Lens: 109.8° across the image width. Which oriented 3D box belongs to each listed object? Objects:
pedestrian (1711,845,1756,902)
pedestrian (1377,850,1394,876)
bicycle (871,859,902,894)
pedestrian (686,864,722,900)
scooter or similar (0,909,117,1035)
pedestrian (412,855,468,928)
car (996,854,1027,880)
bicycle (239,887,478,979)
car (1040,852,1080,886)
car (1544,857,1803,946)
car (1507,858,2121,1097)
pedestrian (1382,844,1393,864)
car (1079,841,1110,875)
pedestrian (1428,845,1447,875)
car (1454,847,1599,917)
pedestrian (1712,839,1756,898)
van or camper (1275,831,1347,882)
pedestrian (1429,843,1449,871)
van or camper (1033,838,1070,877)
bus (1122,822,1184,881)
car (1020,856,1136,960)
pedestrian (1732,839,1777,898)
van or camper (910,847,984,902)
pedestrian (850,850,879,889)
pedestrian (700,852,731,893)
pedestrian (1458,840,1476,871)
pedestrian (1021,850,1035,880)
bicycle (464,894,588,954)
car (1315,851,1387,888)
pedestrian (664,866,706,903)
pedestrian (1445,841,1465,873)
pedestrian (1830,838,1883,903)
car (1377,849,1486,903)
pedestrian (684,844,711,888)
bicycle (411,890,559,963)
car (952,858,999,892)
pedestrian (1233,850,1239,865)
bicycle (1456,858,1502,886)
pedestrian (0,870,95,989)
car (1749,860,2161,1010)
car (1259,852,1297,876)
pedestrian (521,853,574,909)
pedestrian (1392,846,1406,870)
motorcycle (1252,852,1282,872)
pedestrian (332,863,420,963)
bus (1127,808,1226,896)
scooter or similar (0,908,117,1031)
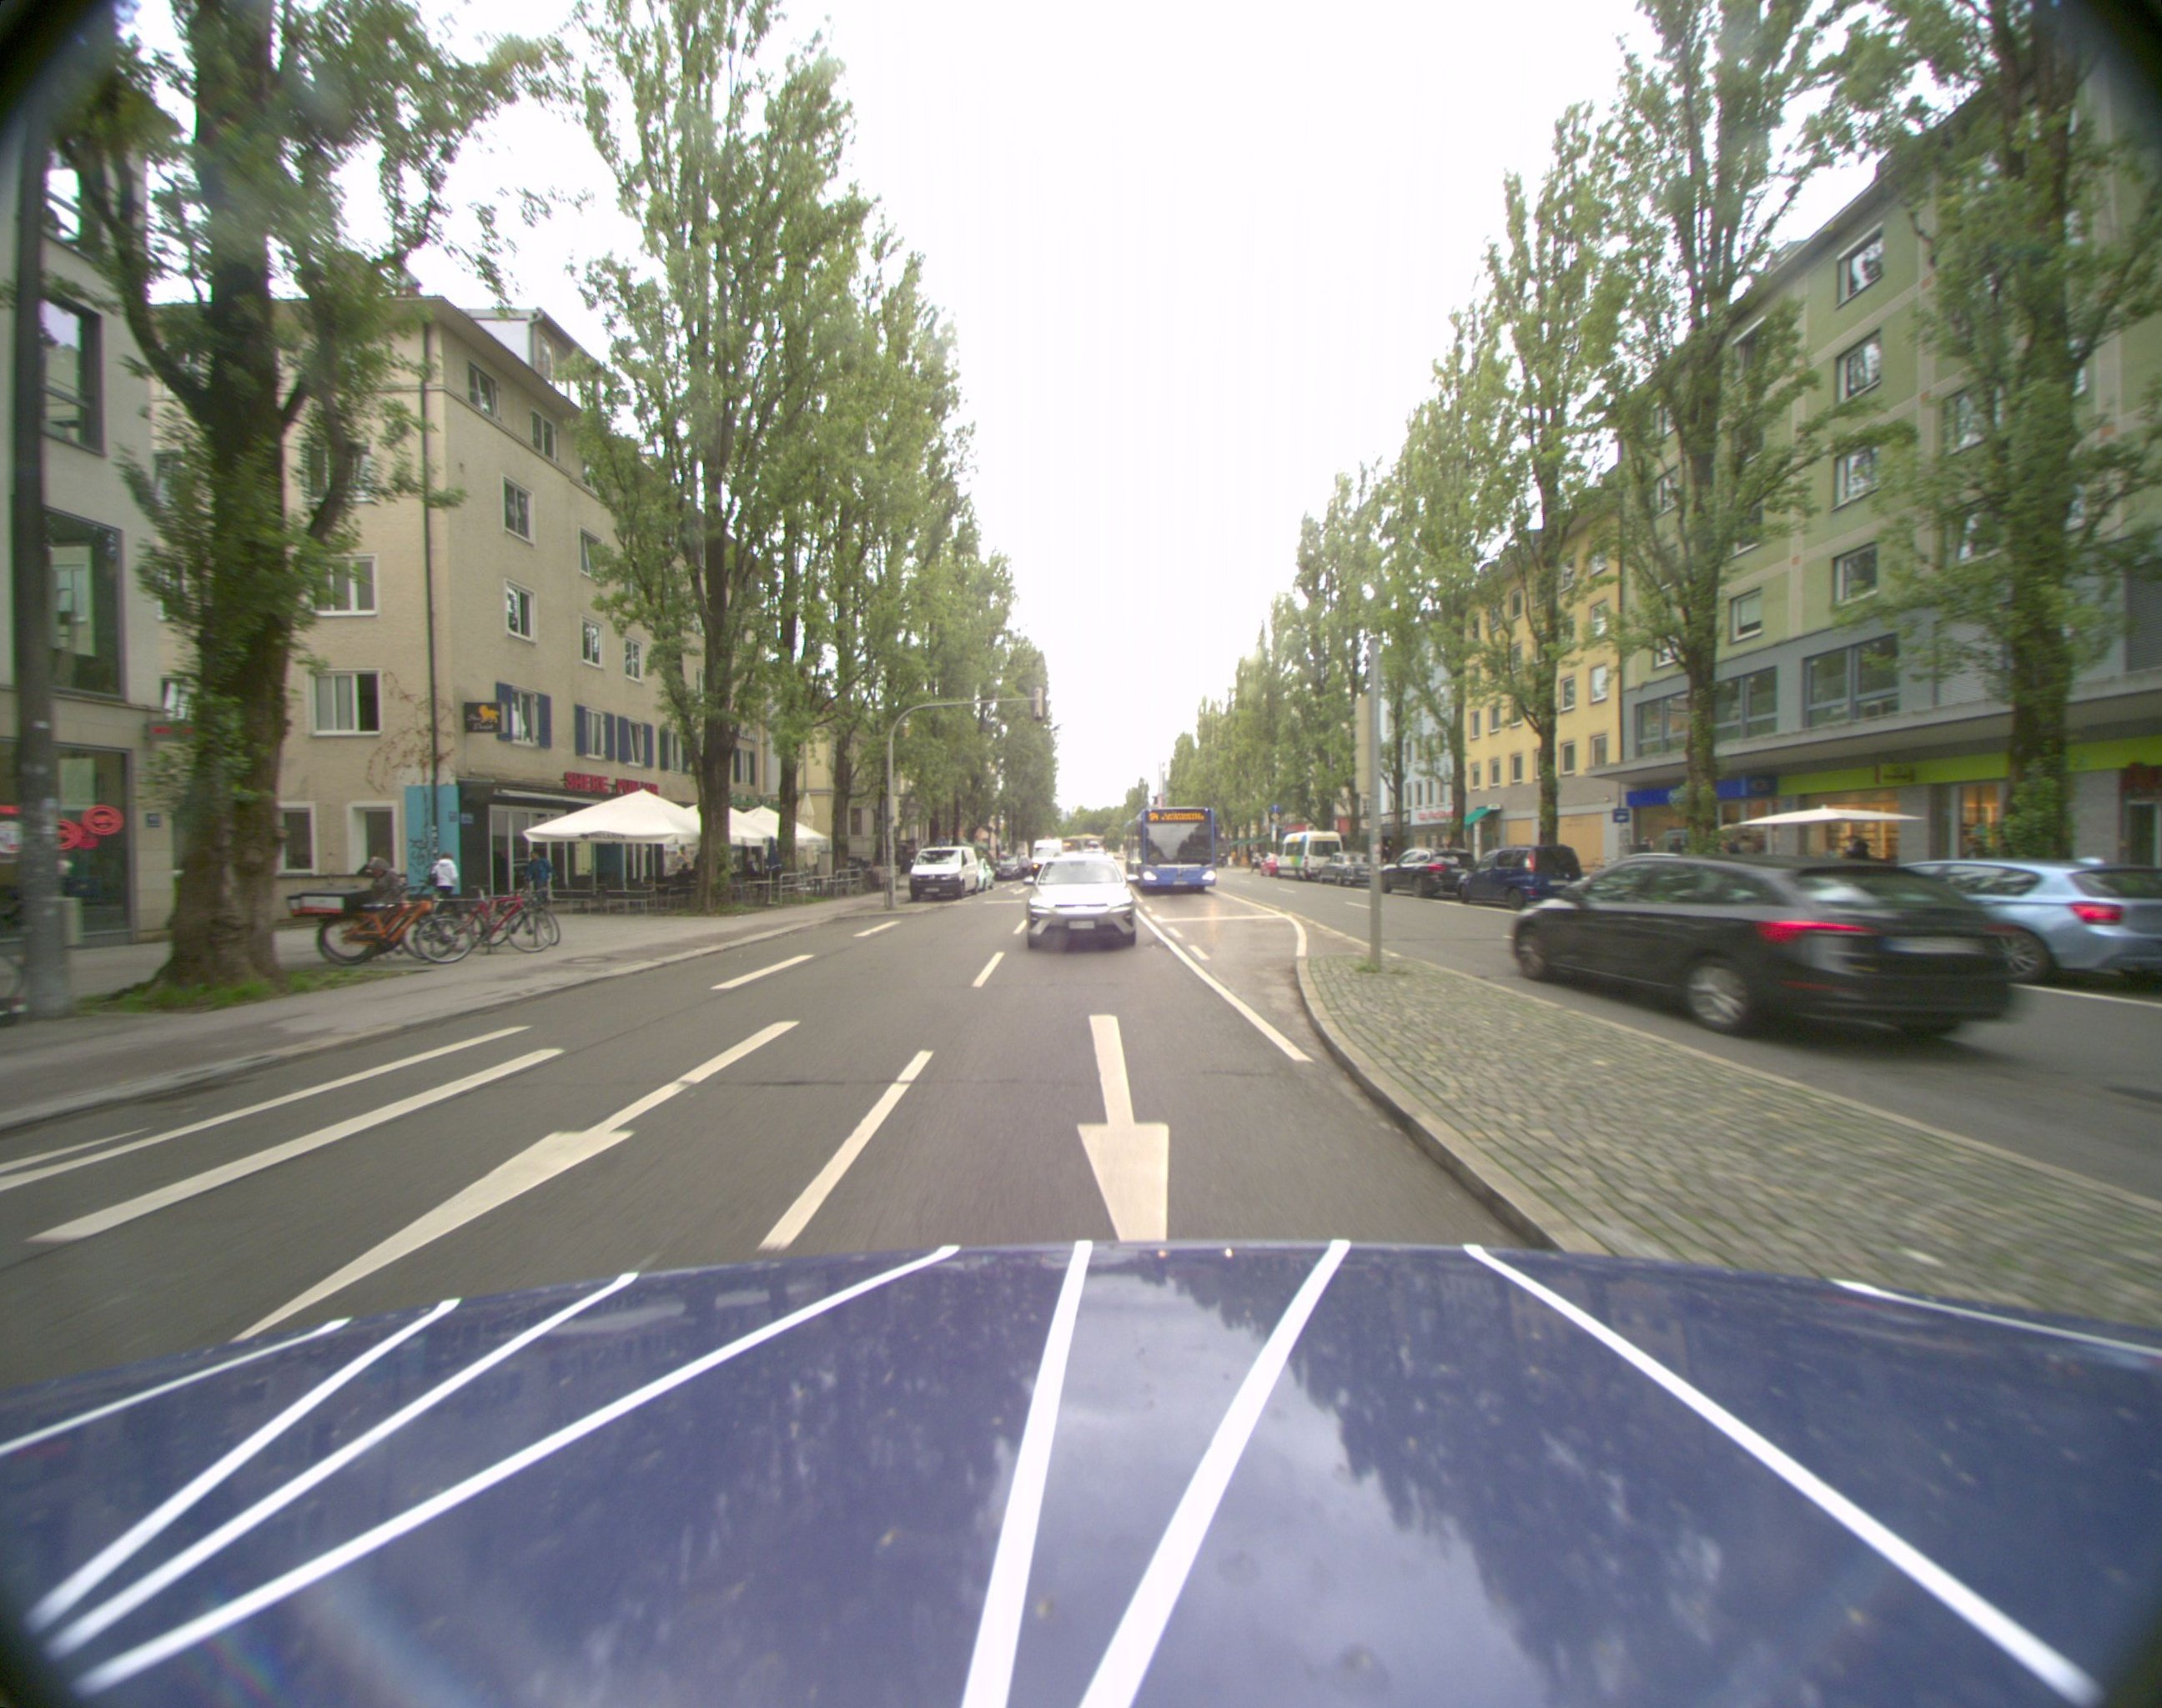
[{"bbox_3d":[19.386,0.572,22.598,0.723,1.641,0.712,-1,1,2],"label":"pedestrian"},{"bbox_3d":[17.242,0.506,43.032,0.611,1.430,0.676,-2,1,-42],"label":"pedestrian"},{"bbox_3d":[-8.317,0.922,32.444,0.829,1.403,2.594,-2,0,-24],"label":"bicycle"},{"bbox_3d":[-13.233,0.976,26.718,0.667,1.209,1.023,-1,1,5],"label":"pedestrian"},{"bbox_3d":[-10.610,1.182,7.528,0.285,1.163,1.246,-1,2,44],"label":"scooter or similar"},{"bbox_3d":[-14.896,0.855,17.669,0.668,1.654,0.692,-2,1,1],"label":"pedestrian"},{"bbox_3d":[-4.304,0.755,47.460,1.475,1.518,3.602,-1,0,2],"label":"car"},{"bbox_3d":[-10.462,1.128,11.075,2.577,1.208,0.965,-1,1,2],"label":"bicycle"},{"bbox_3d":[-0.996,0.724,38.039,1.758,1.529,3.916,-2,0,1],"label":"car"},{"bbox_3d":[11.521,0.822,15.271,1.707,1.438,4.585,0,1,2],"label":"car"},{"bbox_3d":[5.937,0.824,7.016,1.761,1.457,4.050,1,1,1],"label":"car"},{"bbox_3d":[21.949,-0.001,54.404,0.609,1.430,0.551,-1,1,2],"label":"pedestrian"},{"bbox_3d":[0.992,0.277,54.064,2.024,2.235,4.411,-2,0,1],"label":"car"},{"bbox_3d":[19.819,0.340,42.256,0.723,1.641,0.712,-1,1,2],"label":"pedestrian"},{"bbox_3d":[11.911,0.680,20.630,1.621,1.677,3.770,2,1,-1],"label":"car"},{"bbox_3d":[20.095,0.451,23.405,0.749,1.784,0.716,-1,1,3],"label":"pedestrian"},{"bbox_3d":[12.354,0.119,41.304,2.131,2.536,6.644,-1,1,2],"label":"van or camper"},{"bbox_3d":[18.655,0.148,39.565,0.768,1.430,0.551,-1,1,-3],"label":"pedestrian"},{"bbox_3d":[-1.927,0.190,51.750,1.998,2.470,6.644,-1,1,2],"label":"van or camper"},{"bbox_3d":[3.940,-0.160,44.464,2.806,2.886,12.858,-1,0,2],"label":"bus"},{"bbox_3d":[-0.004,0.837,13.567,1.758,1.529,3.916,-1,1,1],"label":"car"},{"bbox_3d":[20.723,0.428,23.396,0.749,1.784,0.716,-1,1,3],"label":"pedestrian"},{"bbox_3d":[-4.995,0.713,28.963,1.795,1.894,4.566,-1,0,2],"label":"van or camper"},{"bbox_3d":[-9.953,0.710,34.970,0.941,1.756,0.837,-1,1,40],"label":"pedestrian"},{"bbox_3d":[-14.317,0.707,29.791,0.696,1.568,0.874,-2,1,2],"label":"pedestrian"},{"bbox_3d":[21.390,0.100,42.092,0.640,1.694,0.724,-1,1,1],"label":"pedestrian"},{"bbox_3d":[-3.225,0.652,46.058,0.791,1.747,0.769,-1,1,-9],"label":"pedestrian"},{"bbox_3d":[-9.827,1.233,13.482,1.844,1.003,0.503,-1,1,2],"label":"bicycle"},{"bbox_3d":[12.155,0.649,34.474,1.707,1.520,4.260,0,1,0],"label":"car"},{"bbox_3d":[-13.339,1.019,25.611,0.775,1.209,1.023,-1,1,5],"label":"pedestrian"},{"bbox_3d":[20.690,0.169,42.048,0.732,1.755,0.724,-1,1,0],"label":"pedestrian"},{"bbox_3d":[21.404,0.450,20.986,0.723,1.744,0.716,-1,1,2],"label":"pedestrian"},{"bbox_3d":[11.766,0.659,25.845,1.707,1.623,4.503,1,1,2],"label":"car"},{"bbox_3d":[-15.021,0.468,29.796,0.629,1.709,0.681,-2,1,2],"label":"pedestrian"},{"bbox_3d":[-9.804,1.183,12.535,1.902,1.120,0.686,-1,1,2],"label":"bicycle"},{"bbox_3d":[-4.704,0.923,34.264,1.475,1.389,3.483,-1,0,2],"label":"car"},{"bbox_3d":[16.362,0.398,80.293,0.609,1.580,0.551,0,1,13],"label":"pedestrian"},{"bbox_3d":[16.225,0.748,30.963,1.679,1.109,0.358,-1,1,2],"label":"bicycle"},{"bbox_3d":[-13.991,0.993,10.195,0.566,1.511,0.697,-1,1,5],"label":"pedestrian"},{"bbox_3d":[11.437,0.844,9.866,1.662,1.409,4.400,0,1,1],"label":"car"},{"bbox_3d":[12.487,0.604,48.371,1.559,1.403,3.761,-1,0,3],"label":"car"},{"bbox_3d":[-15.623,0.775,22.259,0.764,1.594,1.016,-2,1,2],"label":"pedestrian"},{"bbox_3d":[21.721,0.272,51.888,0.723,1.641,0.678,-1,1,2],"label":"pedestrian"},{"bbox_3d":[13.361,0.570,54.529,2.023,1.413,0.570,-1,1,-5],"label":"motorcycle"},{"bbox_3d":[-11.657,0.946,12.588,0.711,1.580,0.794,1,1,8],"label":"pedestrian"},{"bbox_3d":[3.553,-0.111,31.628,2.806,2.886,12.858,-1,0,1],"label":"bus"},{"bbox_3d":[-10.883,1.192,7.742,0.306,1.163,1.246,-1,2,41],"label":"scooter or similar"}]
